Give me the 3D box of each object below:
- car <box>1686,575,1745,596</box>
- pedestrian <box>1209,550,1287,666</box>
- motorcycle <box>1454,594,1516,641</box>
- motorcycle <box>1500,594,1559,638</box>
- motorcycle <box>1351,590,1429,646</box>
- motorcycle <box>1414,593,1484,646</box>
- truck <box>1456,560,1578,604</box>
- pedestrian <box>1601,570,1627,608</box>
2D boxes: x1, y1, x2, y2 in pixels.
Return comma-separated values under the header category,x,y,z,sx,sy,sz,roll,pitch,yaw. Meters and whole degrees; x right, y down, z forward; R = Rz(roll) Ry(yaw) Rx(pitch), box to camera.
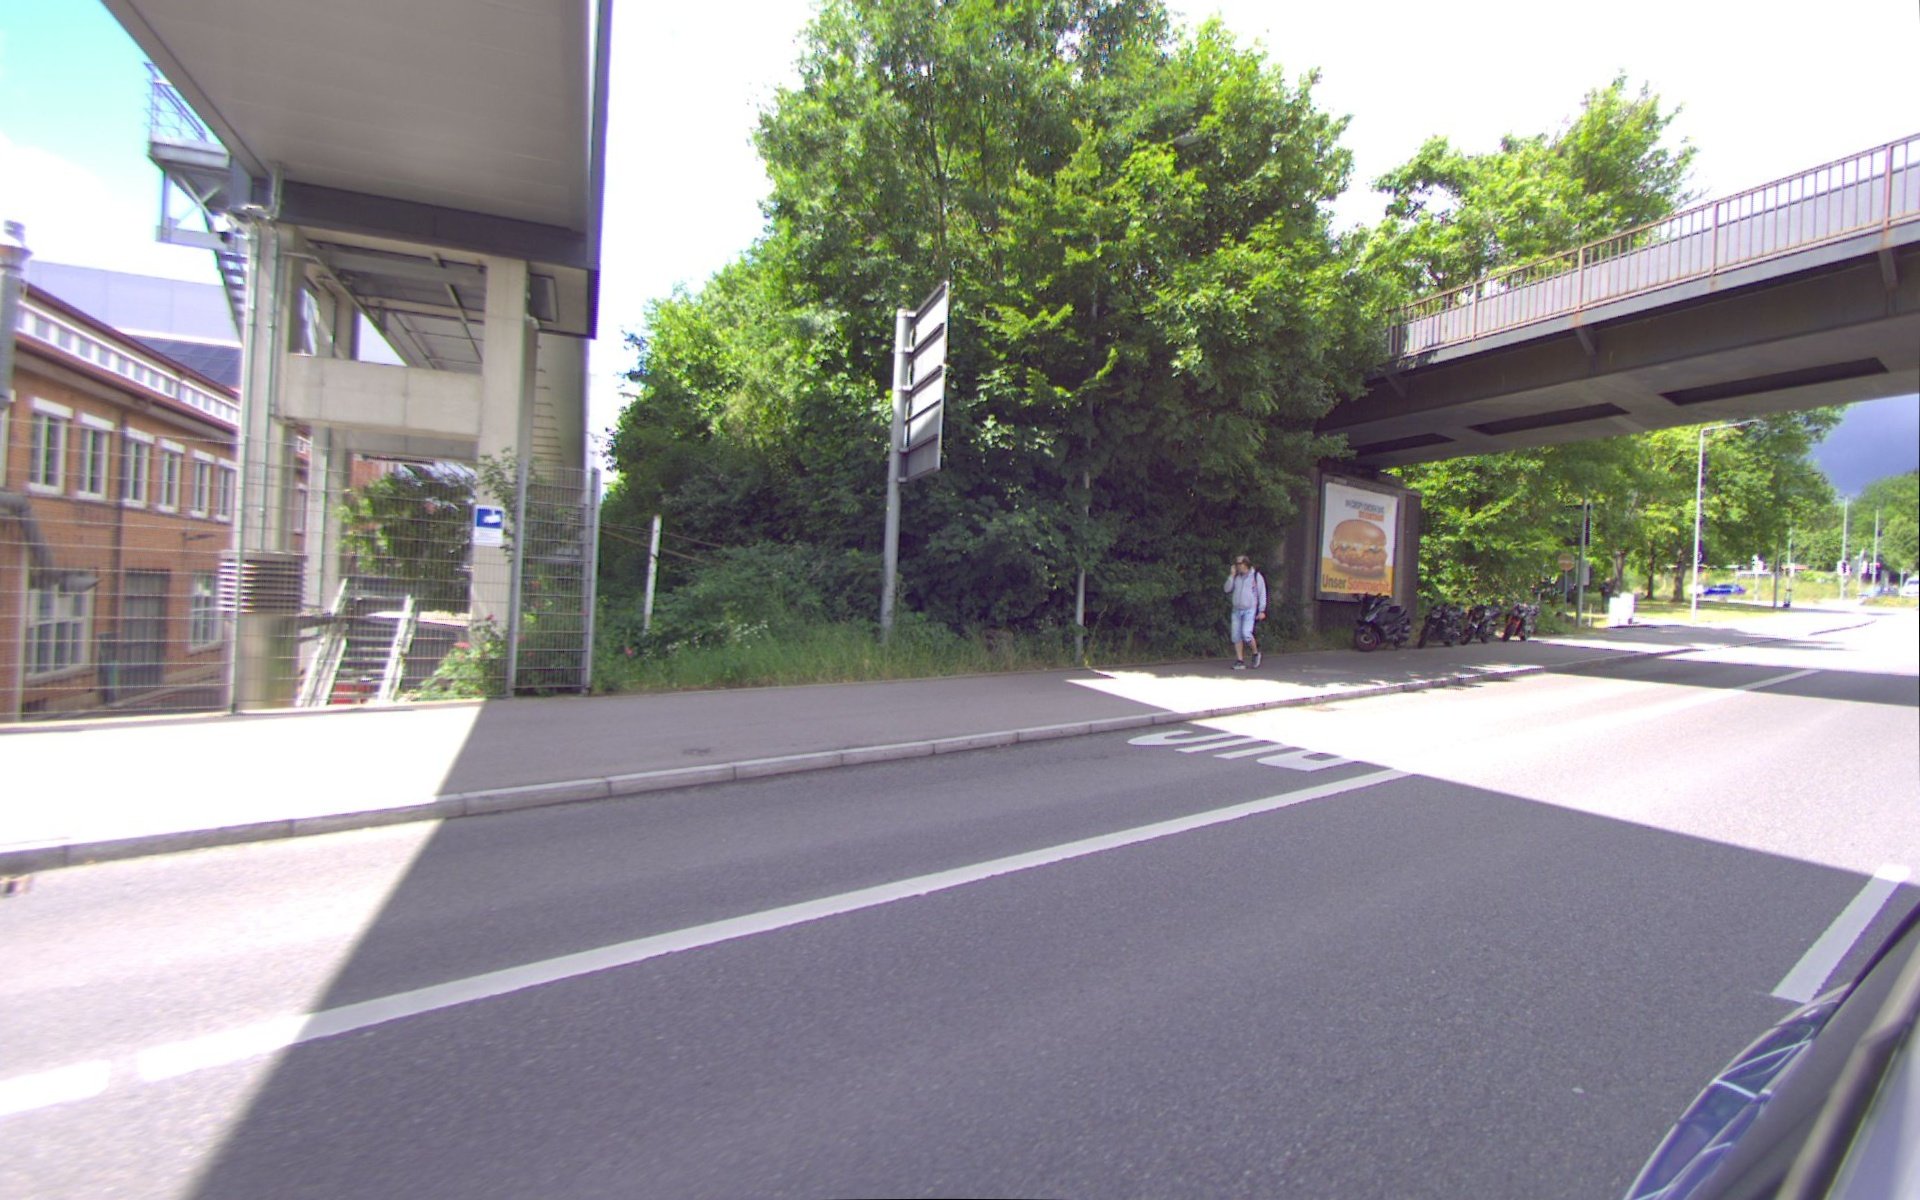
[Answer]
category,x,y,z,sx,sy,sz,roll,pitch,yaw
car,70.590,-1.358,94.618,1.965,1.766,4.078,0,2,-41
pedestrian,4.933,0.118,17.324,1.078,1.911,0.791,0,2,-41
motorcycle,13.127,0.414,25.266,2.003,1.096,0.679,0,2,-41
motorcycle,15.137,0.404,26.884,2.142,1.096,0.679,0,2,-41
motorcycle,9.492,0.371,22.323,2.075,1.169,0.679,0,2,-40
motorcycle,11.450,0.434,23.667,2.123,1.157,0.679,0,2,-41
truck,54.037,-1.776,98.418,2.742,4.055,10.064,1,0,-43
pedestrian,31.867,-0.532,49.314,0.942,1.834,0.711,2,1,27
